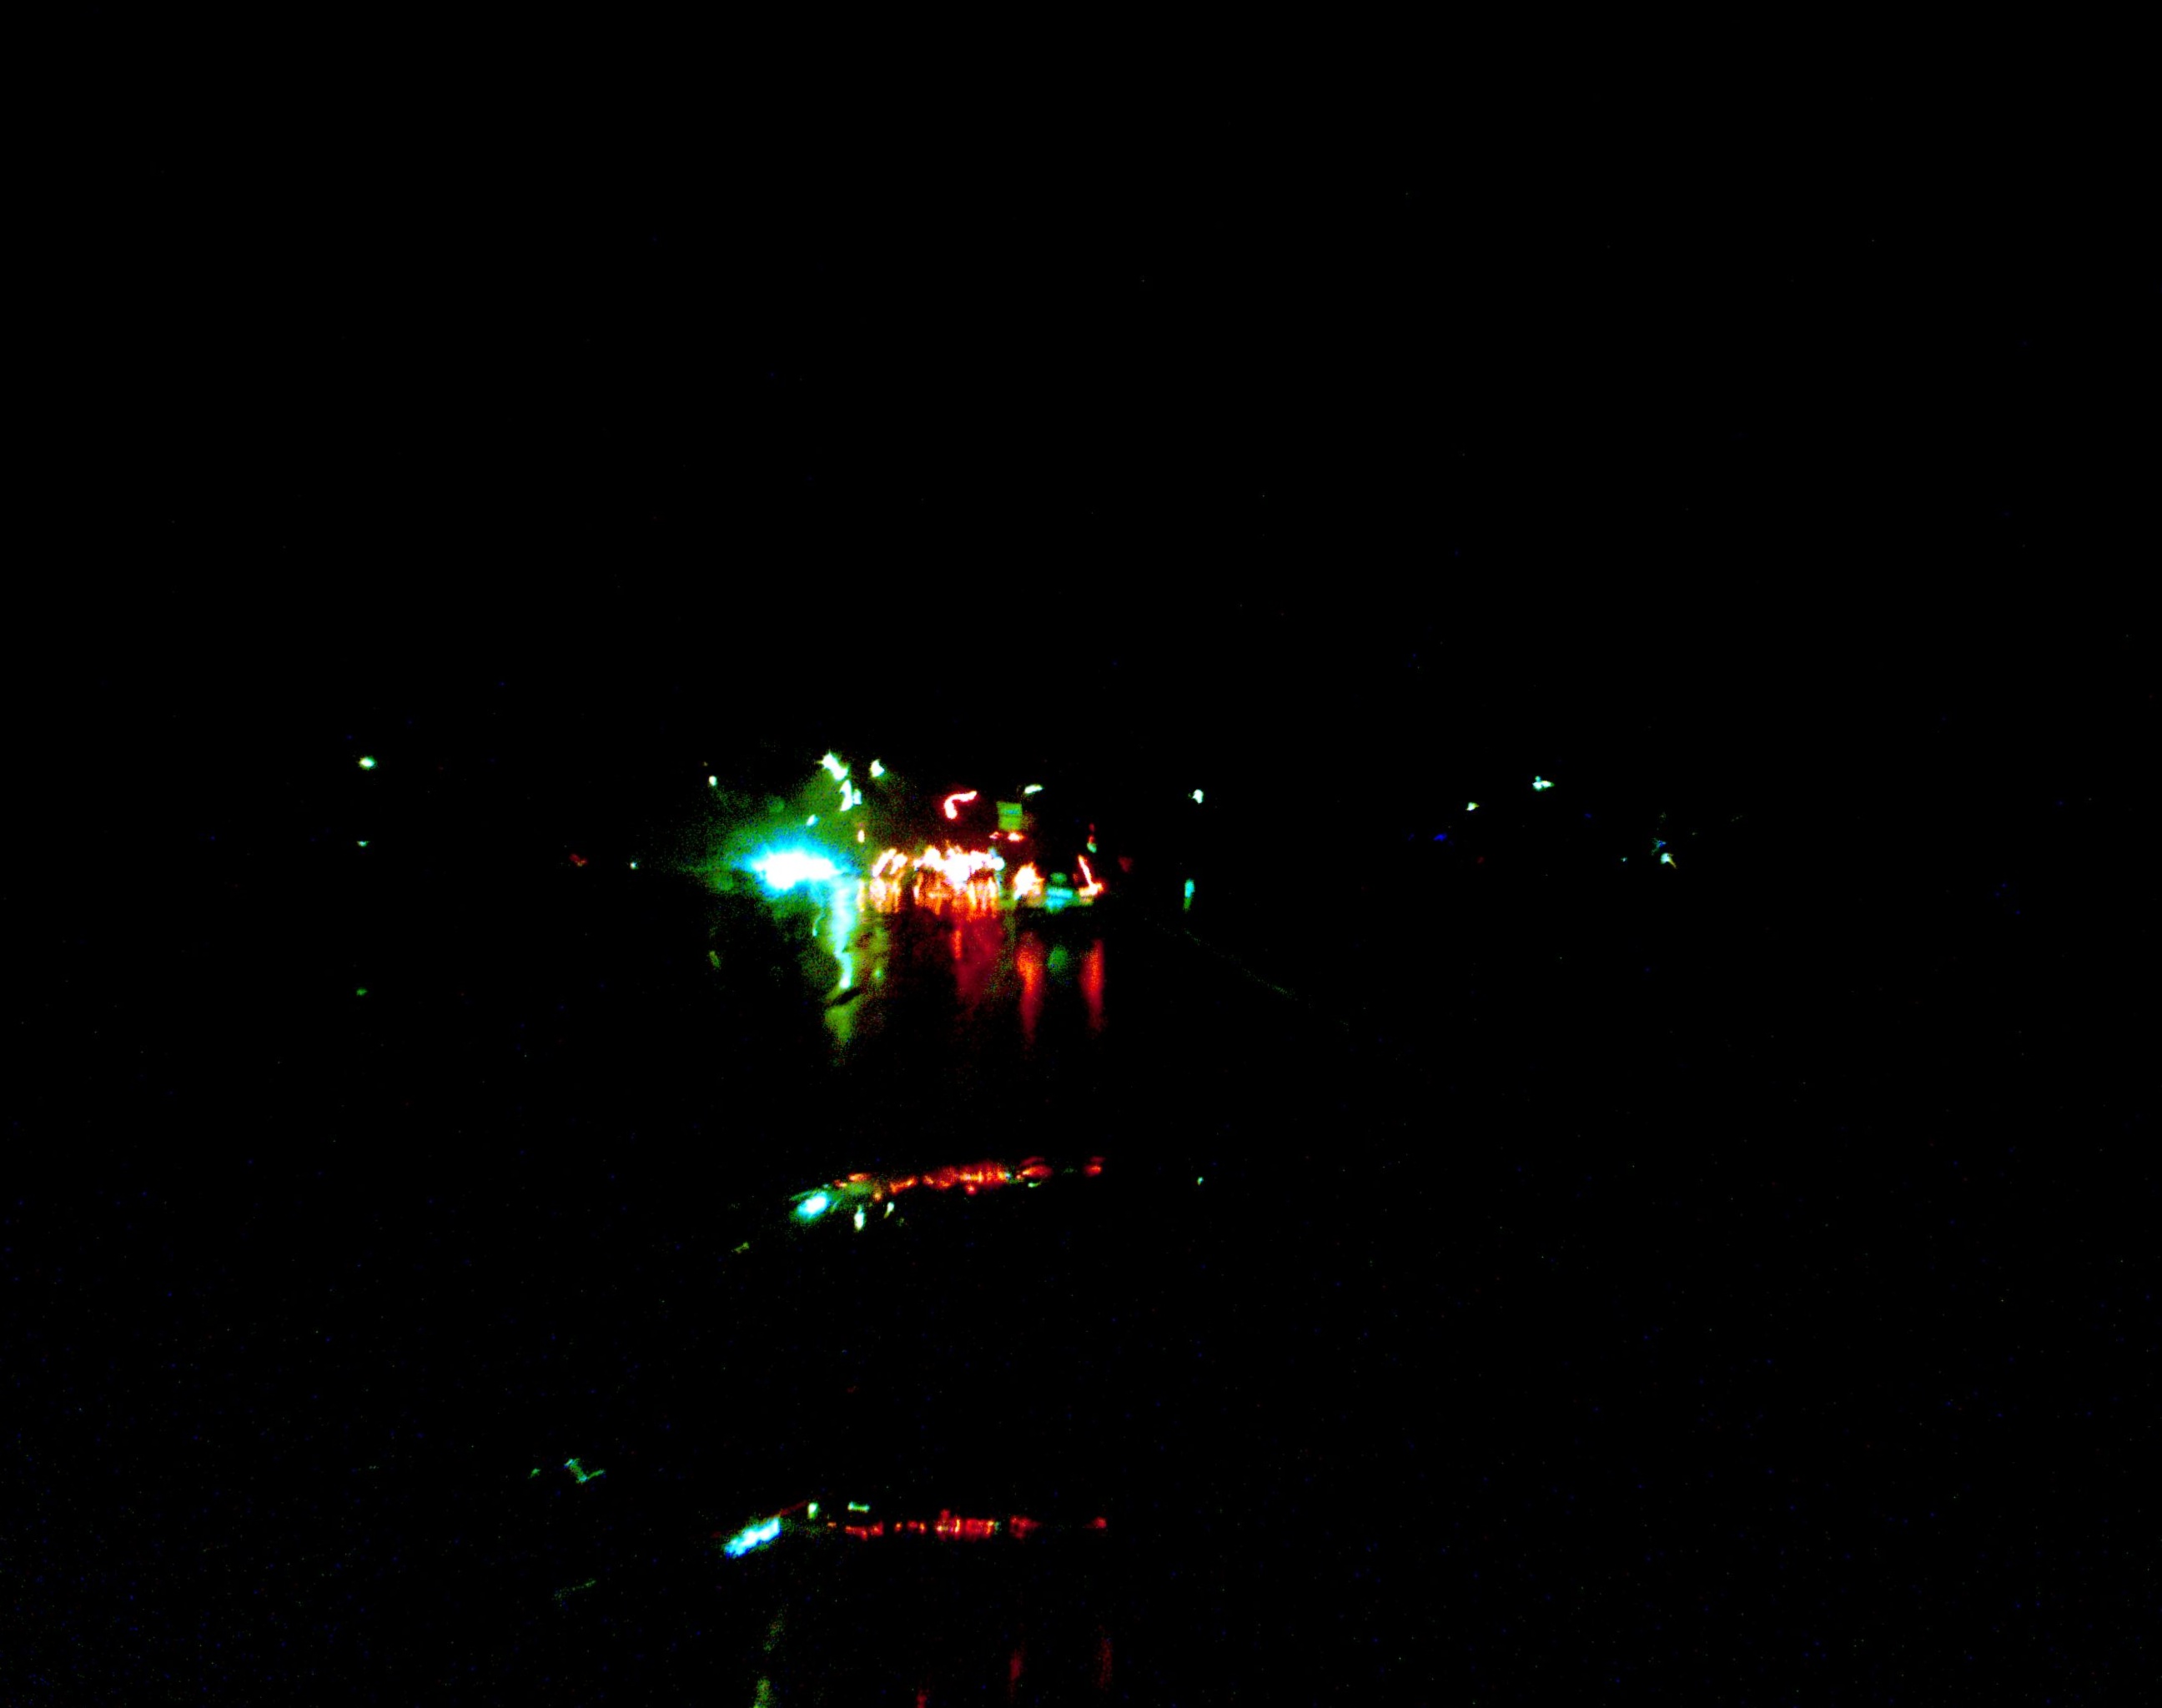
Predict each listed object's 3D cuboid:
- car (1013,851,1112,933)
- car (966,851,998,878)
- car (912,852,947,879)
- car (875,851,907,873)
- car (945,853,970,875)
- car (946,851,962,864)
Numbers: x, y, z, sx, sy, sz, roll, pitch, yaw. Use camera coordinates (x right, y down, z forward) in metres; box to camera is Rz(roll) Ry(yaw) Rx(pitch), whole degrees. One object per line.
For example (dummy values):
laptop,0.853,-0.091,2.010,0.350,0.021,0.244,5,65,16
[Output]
car,-0.528,0.810,18.907,1.989,1.628,4.977,-1,-1,-4
car,-6.732,0.655,55.176,1.993,1.628,4.970,-3,1,-8
car,-10.258,0.720,55.445,1.993,1.628,4.970,-3,1,-8
car,-15.404,0.614,66.216,1.993,1.628,4.970,-3,1,-8
car,-10.625,0.840,70.474,1.993,1.628,4.970,-3,1,-8
car,-18.115,0.463,116.027,1.994,1.628,4.966,-3,1,-11
